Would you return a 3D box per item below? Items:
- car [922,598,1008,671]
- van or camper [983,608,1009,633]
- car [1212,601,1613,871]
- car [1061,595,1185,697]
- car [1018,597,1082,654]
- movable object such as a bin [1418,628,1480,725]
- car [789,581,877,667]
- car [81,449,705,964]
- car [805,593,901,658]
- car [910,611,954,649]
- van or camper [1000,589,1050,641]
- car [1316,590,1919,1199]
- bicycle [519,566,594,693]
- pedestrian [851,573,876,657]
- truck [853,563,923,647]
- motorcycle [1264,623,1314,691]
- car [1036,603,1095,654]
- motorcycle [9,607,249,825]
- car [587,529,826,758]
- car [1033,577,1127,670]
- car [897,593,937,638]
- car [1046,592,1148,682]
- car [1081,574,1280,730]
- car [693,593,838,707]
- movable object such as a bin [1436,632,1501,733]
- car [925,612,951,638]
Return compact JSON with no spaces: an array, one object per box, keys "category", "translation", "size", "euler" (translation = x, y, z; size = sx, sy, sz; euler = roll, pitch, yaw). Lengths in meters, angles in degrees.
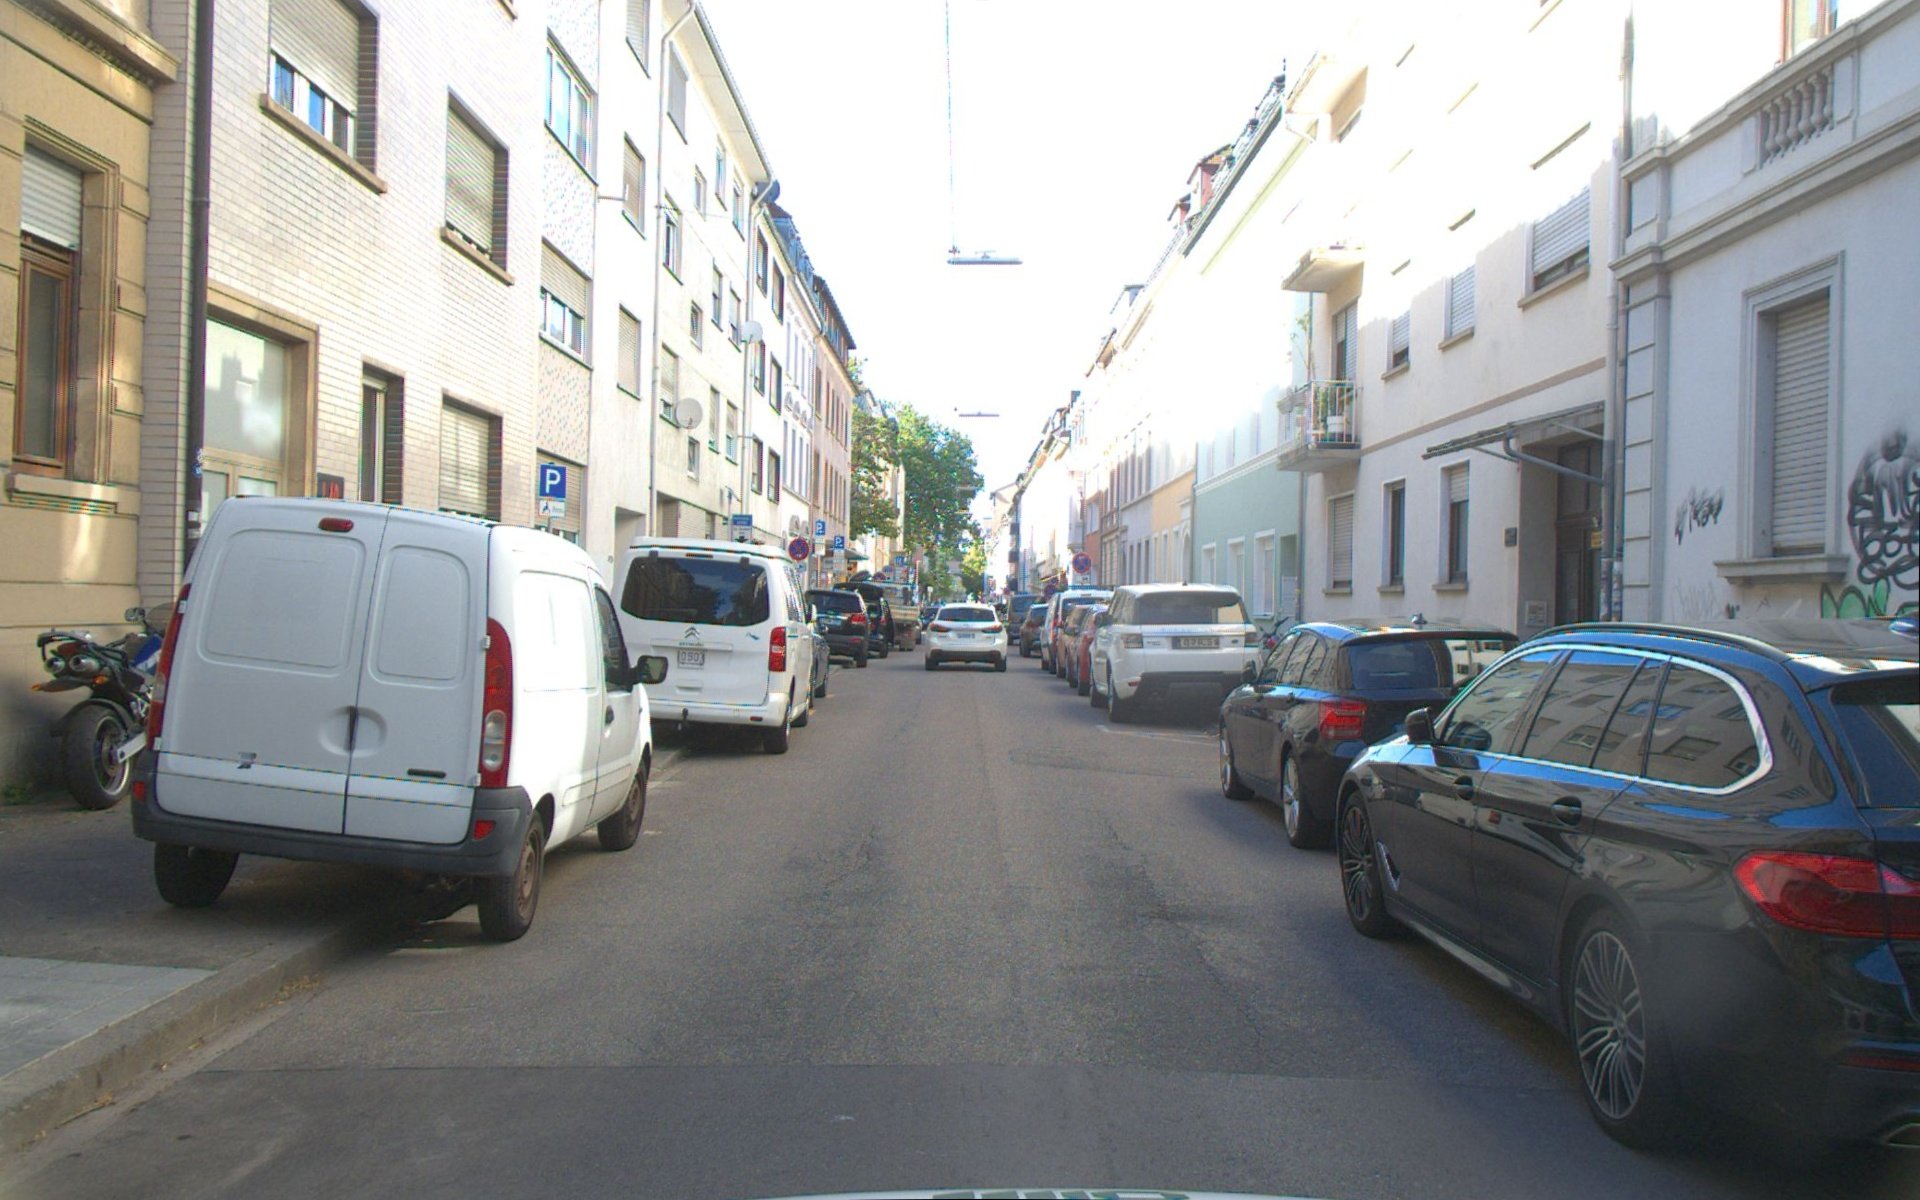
[{"category":"car","translation":[0.144,0.749,37.103],"size":[1.796,1.512,4.057],"euler":[1,0,1]},{"category":"van or camper","translation":[2.817,1.657,131.203],"size":[1.952,1.960,3.999],"euler":[1,-1,0]},{"category":"car","translation":[2.971,0.808,11.715],"size":[1.711,1.474,3.869],"euler":[3,0,0]},{"category":"car","translation":[2.758,0.738,28.679],"size":[1.706,1.596,4.032],"euler":[1,0,0]},{"category":"car","translation":[2.712,0.748,50.574],"size":[1.704,1.604,4.377],"euler":[1,0,0]},{"category":"movable object such as a bin","translation":[5.614,0.873,19.012],"size":[0.565,1.089,0.553],"euler":[0,0,3]},{"category":"car","translation":[-2.963,0.528,39.158],"size":[1.842,1.786,4.540],"euler":[4,0,-3]},{"category":"car","translation":[-2.569,0.408,8.619],"size":[1.709,1.908,4.089],"euler":[5,0,0]},{"category":"car","translation":[-3.022,0.702,47.808],"size":[2.391,1.735,5.242],"euler":[2,0,0]},{"category":"car","translation":[-1.135,1.171,66.707],"size":[1.722,1.440,3.999],"euler":[-1,0,-1]},{"category":"van or camper","translation":[2.640,0.606,68.056],"size":[1.739,2.072,4.568],"euler":[0,-1,-2]},{"category":"car","translation":[2.744,0.784,6.067],"size":[1.778,1.546,4.727],"euler":[3,0,0]},{"category":"bicycle","translation":[-5.146,0.366,21.198],"size":[0.546,1.535,1.799],"euler":[3,0,-3]},{"category":"pedestrian","translation":[-2.653,0.417,45.512],"size":[0.606,2.268,0.688],"euler":[1,-2,0]},{"category":"truck","translation":[-2.496,0.239,55.620],"size":[2.114,2.636,6.243],"euler":[1,-1,-4]},{"category":"motorcycle","translation":[5.401,0.922,27.238],"size":[0.470,1.064,1.691],"euler":[1,0,0]},{"category":"car","translation":[3.545,0.946,56.042],"size":[1.706,1.596,4.032],"euler":[1,0,0]},{"category":"motorcycle","translation":[-5.117,0.656,10.339],"size":[0.424,1.206,2.121],"euler":[2,0,-1]},{"category":"car","translation":[-2.513,0.383,17.565],"size":[1.856,1.992,4.780],"euler":[3,0,-2]},{"category":"car","translation":[2.686,0.529,38.001],"size":[1.746,1.996,4.335],"euler":[1,-1,-1]},{"category":"car","translation":[-1.877,0.660,71.617],"size":[1.614,1.900,3.998],"euler":[1,0,-3]},{"category":"car","translation":[2.720,0.703,33.429],"size":[1.549,1.660,3.680],"euler":[3,0,-2]},{"category":"car","translation":[2.791,0.597,22.045],"size":[1.964,1.815,4.938],"euler":[1,0,0]},{"category":"car","translation":[-2.779,0.681,24.410],"size":[1.672,1.475,4.300],"euler":[2,0,-1]},{"category":"movable object such as a bin","translation":[5.618,0.905,18.289],"size":[0.565,1.089,0.553],"euler":[0,0,3]},{"category":"car","translation":[-1.417,1.624,108.095],"size":[1.591,1.625,3.580],"euler":[2,0,0]}]
